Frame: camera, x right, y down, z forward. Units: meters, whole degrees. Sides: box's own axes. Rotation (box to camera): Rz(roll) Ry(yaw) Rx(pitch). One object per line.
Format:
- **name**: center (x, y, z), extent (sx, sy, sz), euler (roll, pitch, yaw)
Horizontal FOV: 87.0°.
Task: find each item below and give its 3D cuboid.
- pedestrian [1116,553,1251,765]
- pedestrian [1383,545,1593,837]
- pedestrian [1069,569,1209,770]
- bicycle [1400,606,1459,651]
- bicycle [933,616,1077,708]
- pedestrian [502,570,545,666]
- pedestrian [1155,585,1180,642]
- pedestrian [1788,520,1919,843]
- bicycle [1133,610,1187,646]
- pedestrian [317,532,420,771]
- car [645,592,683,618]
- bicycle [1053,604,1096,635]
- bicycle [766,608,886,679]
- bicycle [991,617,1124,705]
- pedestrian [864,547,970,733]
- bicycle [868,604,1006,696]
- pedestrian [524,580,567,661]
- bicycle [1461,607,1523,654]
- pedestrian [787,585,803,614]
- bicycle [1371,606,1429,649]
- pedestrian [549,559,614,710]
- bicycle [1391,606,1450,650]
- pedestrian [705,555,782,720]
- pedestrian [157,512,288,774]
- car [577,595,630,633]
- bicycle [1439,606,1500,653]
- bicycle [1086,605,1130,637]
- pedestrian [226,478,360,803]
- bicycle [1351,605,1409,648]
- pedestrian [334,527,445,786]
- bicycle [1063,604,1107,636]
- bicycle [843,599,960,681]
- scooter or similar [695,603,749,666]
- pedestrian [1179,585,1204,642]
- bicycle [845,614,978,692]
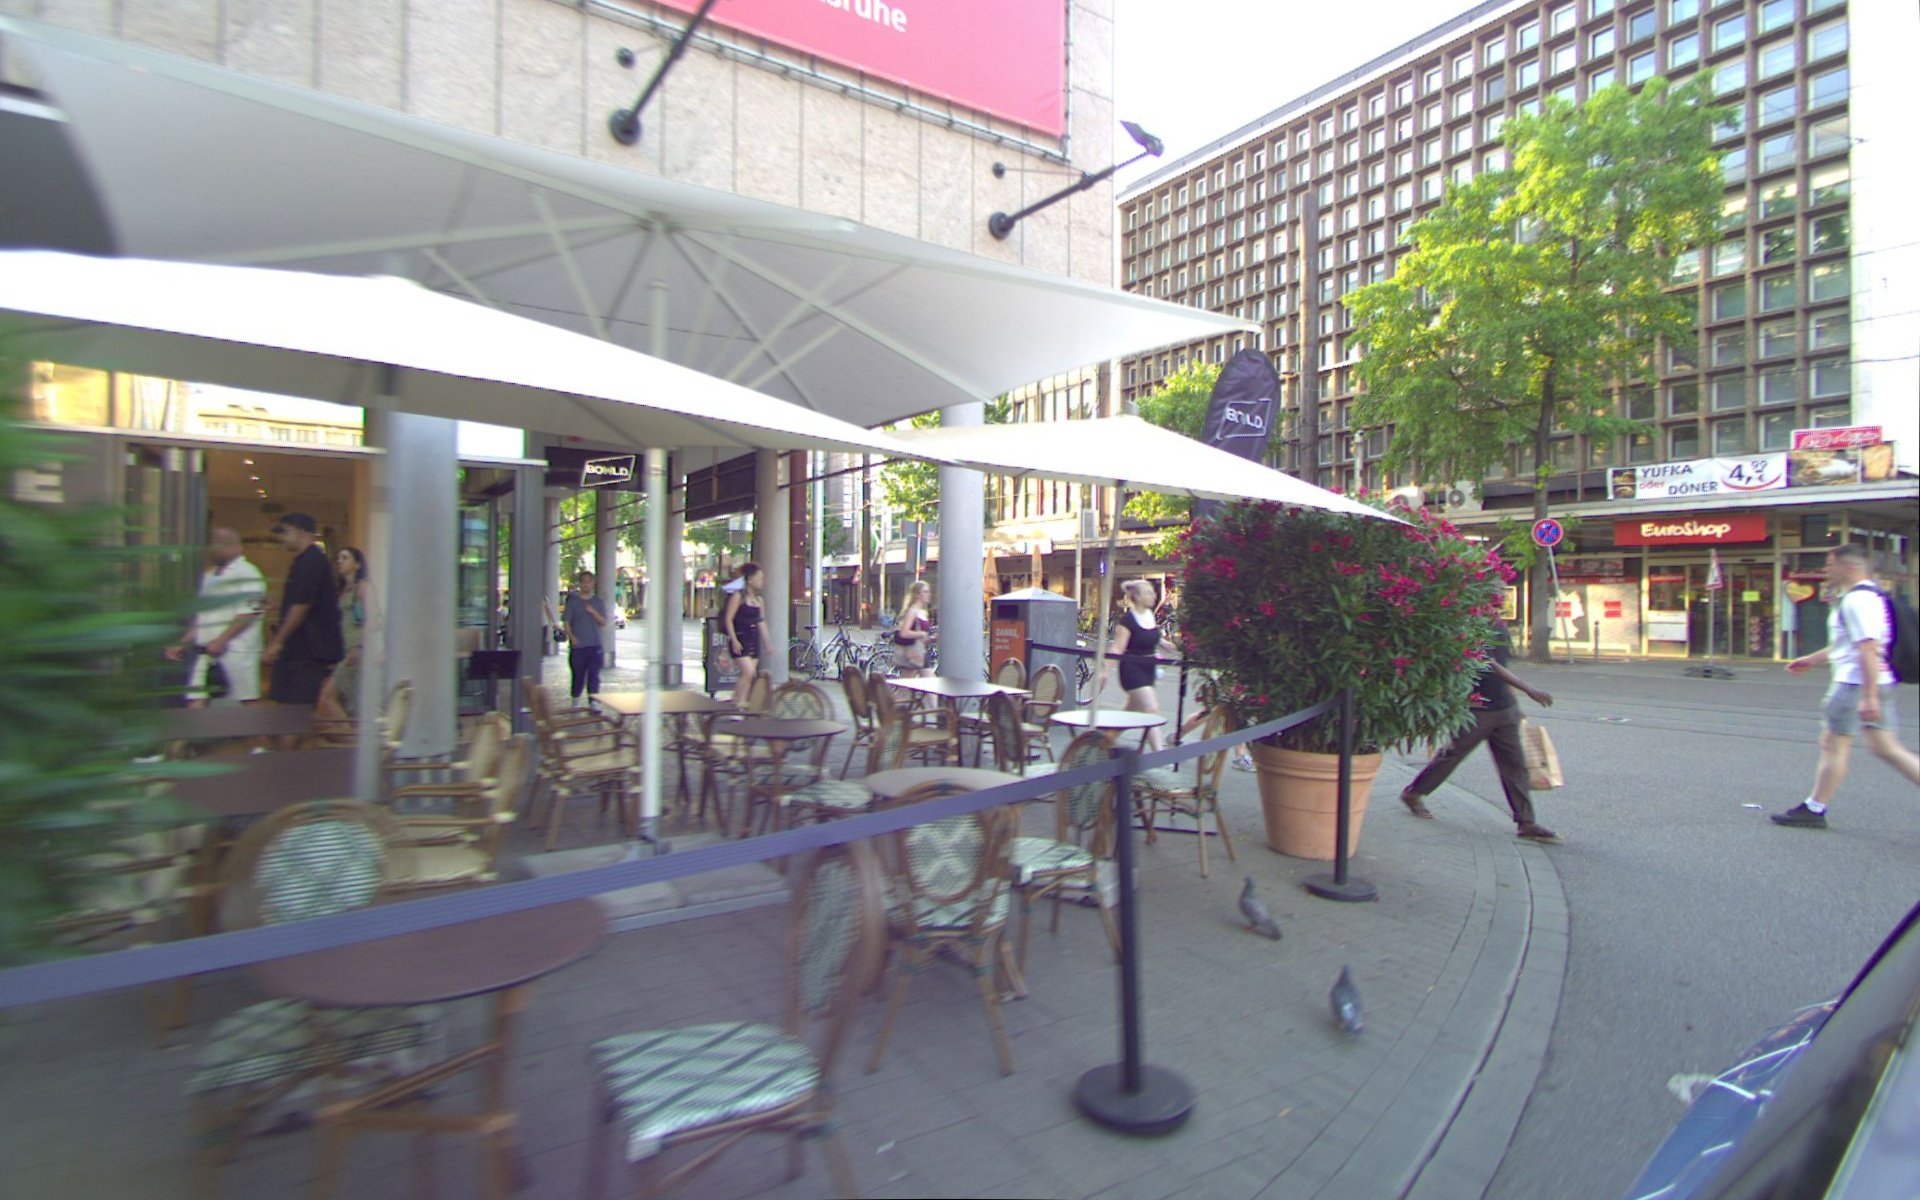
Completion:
- **pedestrian**: center (1.935, 0.485, 8.774), extent (0.790, 1.716, 0.810), euler (2, -1, -37)
- **pedestrian**: center (3.423, 0.534, 6.585), extent (0.759, 1.719, 0.995), euler (0, 0, -41)
- **pedestrian**: center (1.482, 0.540, 8.399), extent (0.790, 1.556, 0.810), euler (2, -1, -37)
- **bicycle**: center (11.928, 0.703, 25.699), extent (1.743, 1.058, 0.489), euler (-2, 0, -33)
- **bicycle**: center (0.605, 0.786, 13.158), extent (1.823, 1.123, 0.666), euler (2, -1, -35)
- **pedestrian**: center (-8.242, 0.331, 19.095), extent (0.572, 1.775, 0.773), euler (2, -1, -34)
- **pedestrian**: center (6.372, 0.416, 31.063), extent (0.591, 1.721, 0.536), euler (-1, -1, -3)
- **pedestrian**: center (5.896, 0.471, 6.348), extent (1.039, 1.886, 1.001), euler (0, 0, 42)
- **bicycle**: center (6.090, 0.851, 30.943), extent (0.480, 1.058, 1.777), euler (0, 0, -35)
- **pedestrian**: center (-4.773, 0.393, 8.164), extent (0.652, 1.809, 0.720), euler (2, -1, -32)
- **car**: center (-23.292, 0.385, 79.565), extent (1.796, 1.844, 4.333), euler (-3, 1, -31)
- **bicycle**: center (4.268, 0.725, 37.685), extent (1.746, 1.084, 0.489), euler (-2, 0, -38)
- **bicycle**: center (-2.321, 0.759, 17.688), extent (1.965, 1.170, 0.725), euler (3, -2, -38)
- **bicycle**: center (1.362, 0.823, 13.959), extent (1.823, 1.123, 0.666), euler (2, -1, -35)
- **pedestrian**: center (-0.440, 0.388, 10.302), extent (0.760, 1.795, 0.774), euler (1, -1, -33)
- **bicycle**: center (-0.314, 0.719, 14.597), extent (1.885, 1.238, 0.763), euler (3, -2, -37)
- **pedestrian**: center (-8.757, 0.428, 21.368), extent (0.676, 1.679, 0.773), euler (2, -1, -34)
- **bicycle**: center (12.778, 0.720, 24.292), extent (1.743, 1.058, 0.489), euler (-2, 0, -33)
- **pedestrian**: center (-10.757, -0.043, 65.918), extent (0.673, 1.815, 0.991), euler (-2, 1, -34)
- **bicycle**: center (11.472, 0.704, 26.381), extent (1.743, 1.058, 0.489), euler (-2, 0, -33)
- **pedestrian**: center (-4.538, 0.402, 12.126), extent (0.561, 1.754, 0.617), euler (2, -1, -34)
- **bicycle**: center (11.801, 0.705, 25.905), extent (1.743, 1.058, 0.489), euler (-2, 0, -33)
- **pedestrian**: center (-2.407, 0.402, 11.230), extent (0.625, 1.754, 0.617), euler (2, -1, -34)
- **pedestrian**: center (-5.565, 0.308, 7.679), extent (0.651, 1.872, 0.720), euler (1, -1, -27)
- **car**: center (-19.862, 0.740, 56.320), extent (1.961, 2.039, 4.002), euler (1, 0, -32)
- **bicycle**: center (12.497, 0.708, 24.802), extent (1.743, 1.058, 0.489), euler (-2, 0, -33)
- **bicycle**: center (5.301, 0.738, 36.187), extent (1.746, 1.084, 0.489), euler (-2, 0, -38)
- **pedestrian**: center (-4.508, 0.257, 6.875), extent (0.675, 2.039, 0.783), euler (2, -1, -32)
- **bicycle**: center (11.167, 0.696, 26.865), extent (1.743, 1.058, 0.489), euler (-2, 0, -33)
- **pedestrian**: center (-4.263, 0.398, 7.555), extent (0.652, 1.809, 0.720), euler (2, -1, -32)
- **bicycle**: center (4.594, 0.729, 37.208), extent (1.746, 1.084, 0.489), euler (-2, 0, -38)
- **bicycle**: center (-0.991, 0.689, 17.419), extent (1.885, 1.350, 0.725), euler (3, -2, -37)
- **scooter or similar**: center (-4.979, 0.717, 21.234), extent (0.492, 1.267, 1.105), euler (0, -2, 27)
- **pedestrian**: center (7.054, 0.415, 30.848), extent (0.591, 1.721, 0.536), euler (-1, -1, -3)
- **bicycle**: center (-0.712, 0.795, 15.228), extent (1.885, 1.092, 0.763), euler (3, -2, -37)
